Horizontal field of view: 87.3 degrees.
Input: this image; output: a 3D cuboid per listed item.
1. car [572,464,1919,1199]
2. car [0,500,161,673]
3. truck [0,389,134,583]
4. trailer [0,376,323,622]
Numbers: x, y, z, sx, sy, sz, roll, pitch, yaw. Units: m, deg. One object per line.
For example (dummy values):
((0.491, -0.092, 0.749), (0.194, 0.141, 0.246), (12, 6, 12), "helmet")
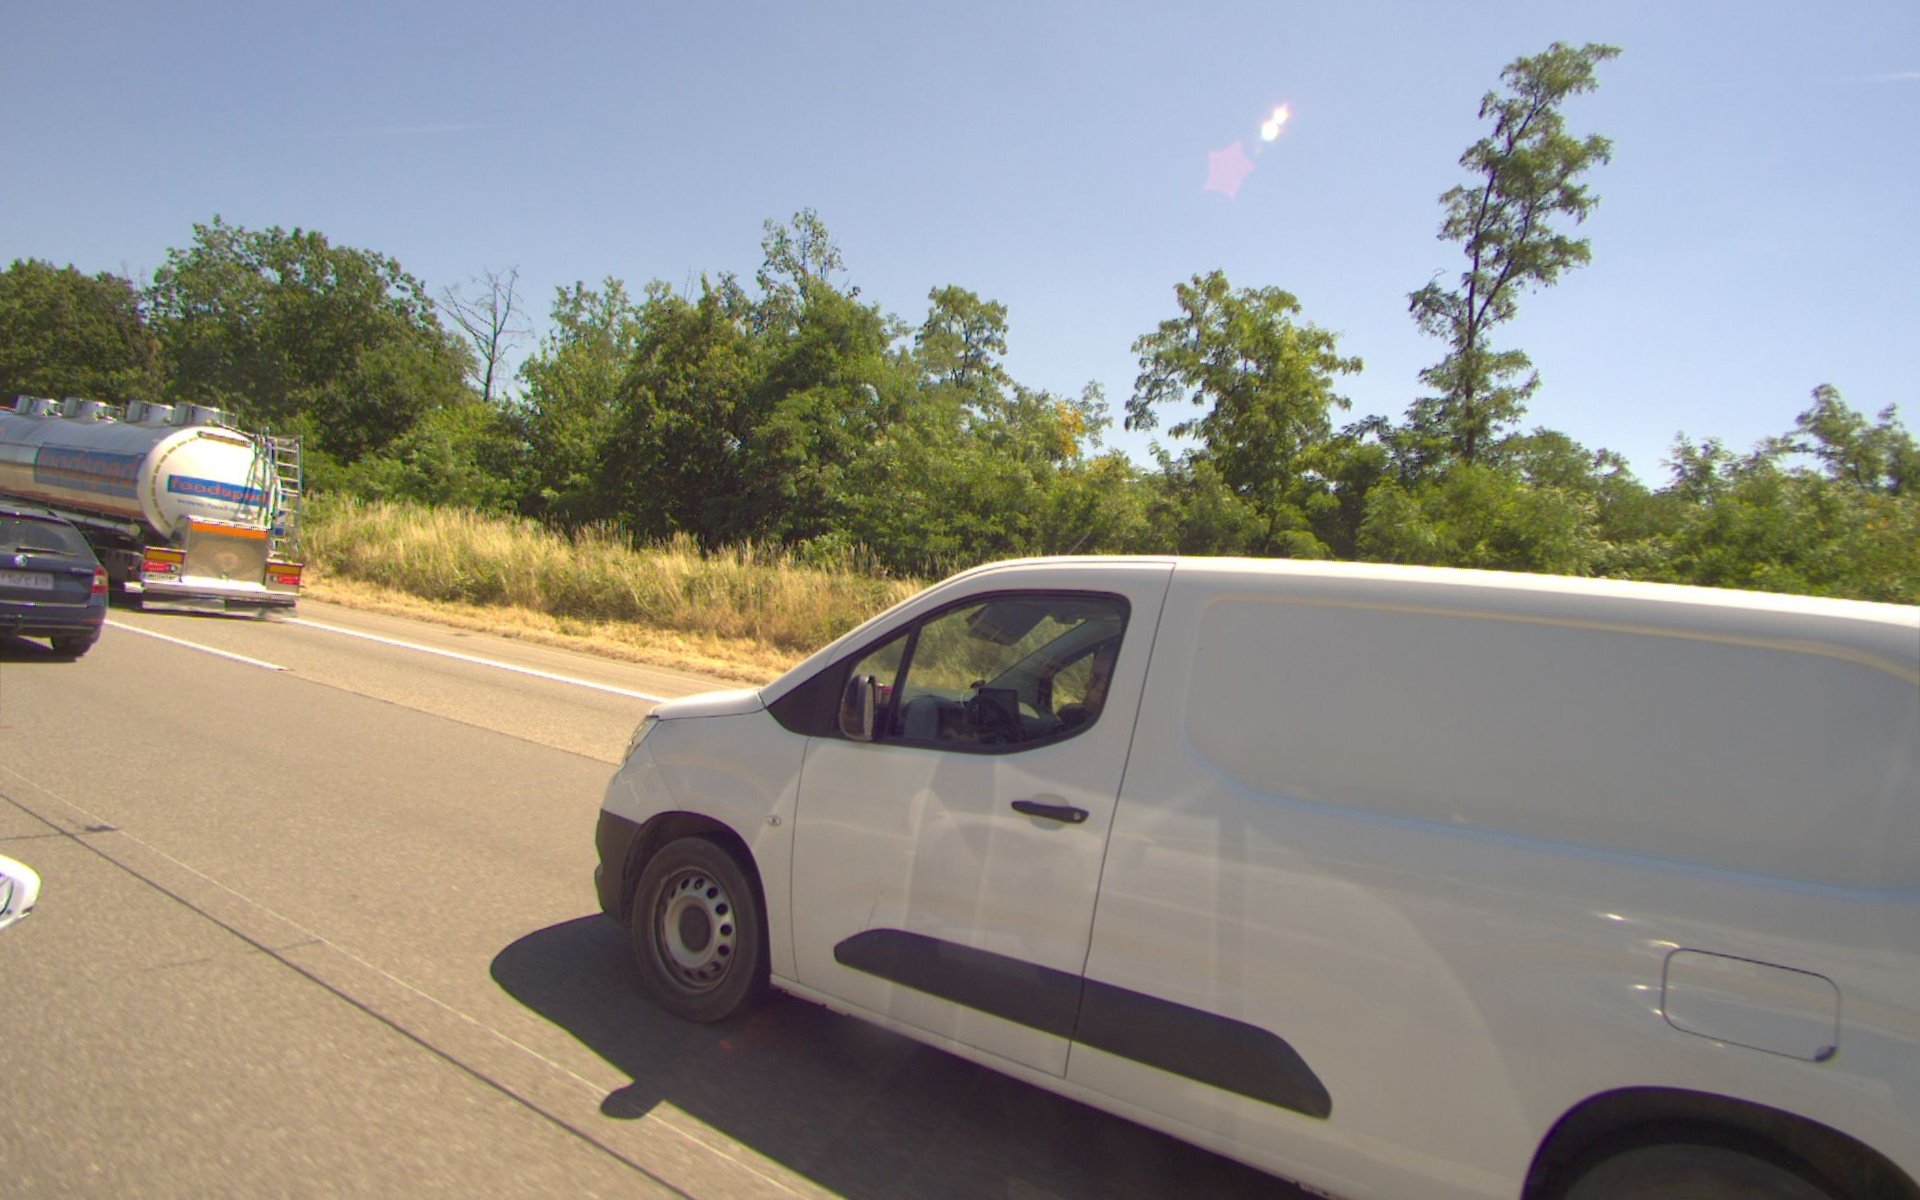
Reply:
((1.219, 0.731, 3.235), (4.859, 1.838, 1.869), (6, -2, 31), "car")
((-10.281, -0.311, 10.320), (4.200, 1.500, 1.805), (6, -2, 31), "car")
((-22.058, -2.655, 23.190), (5.998, 3.777, 2.534), (6, -1, 32), "truck")
((-17.239, -2.123, 20.184), (11.358, 3.777, 2.533), (6, -1, 32), "trailer")
